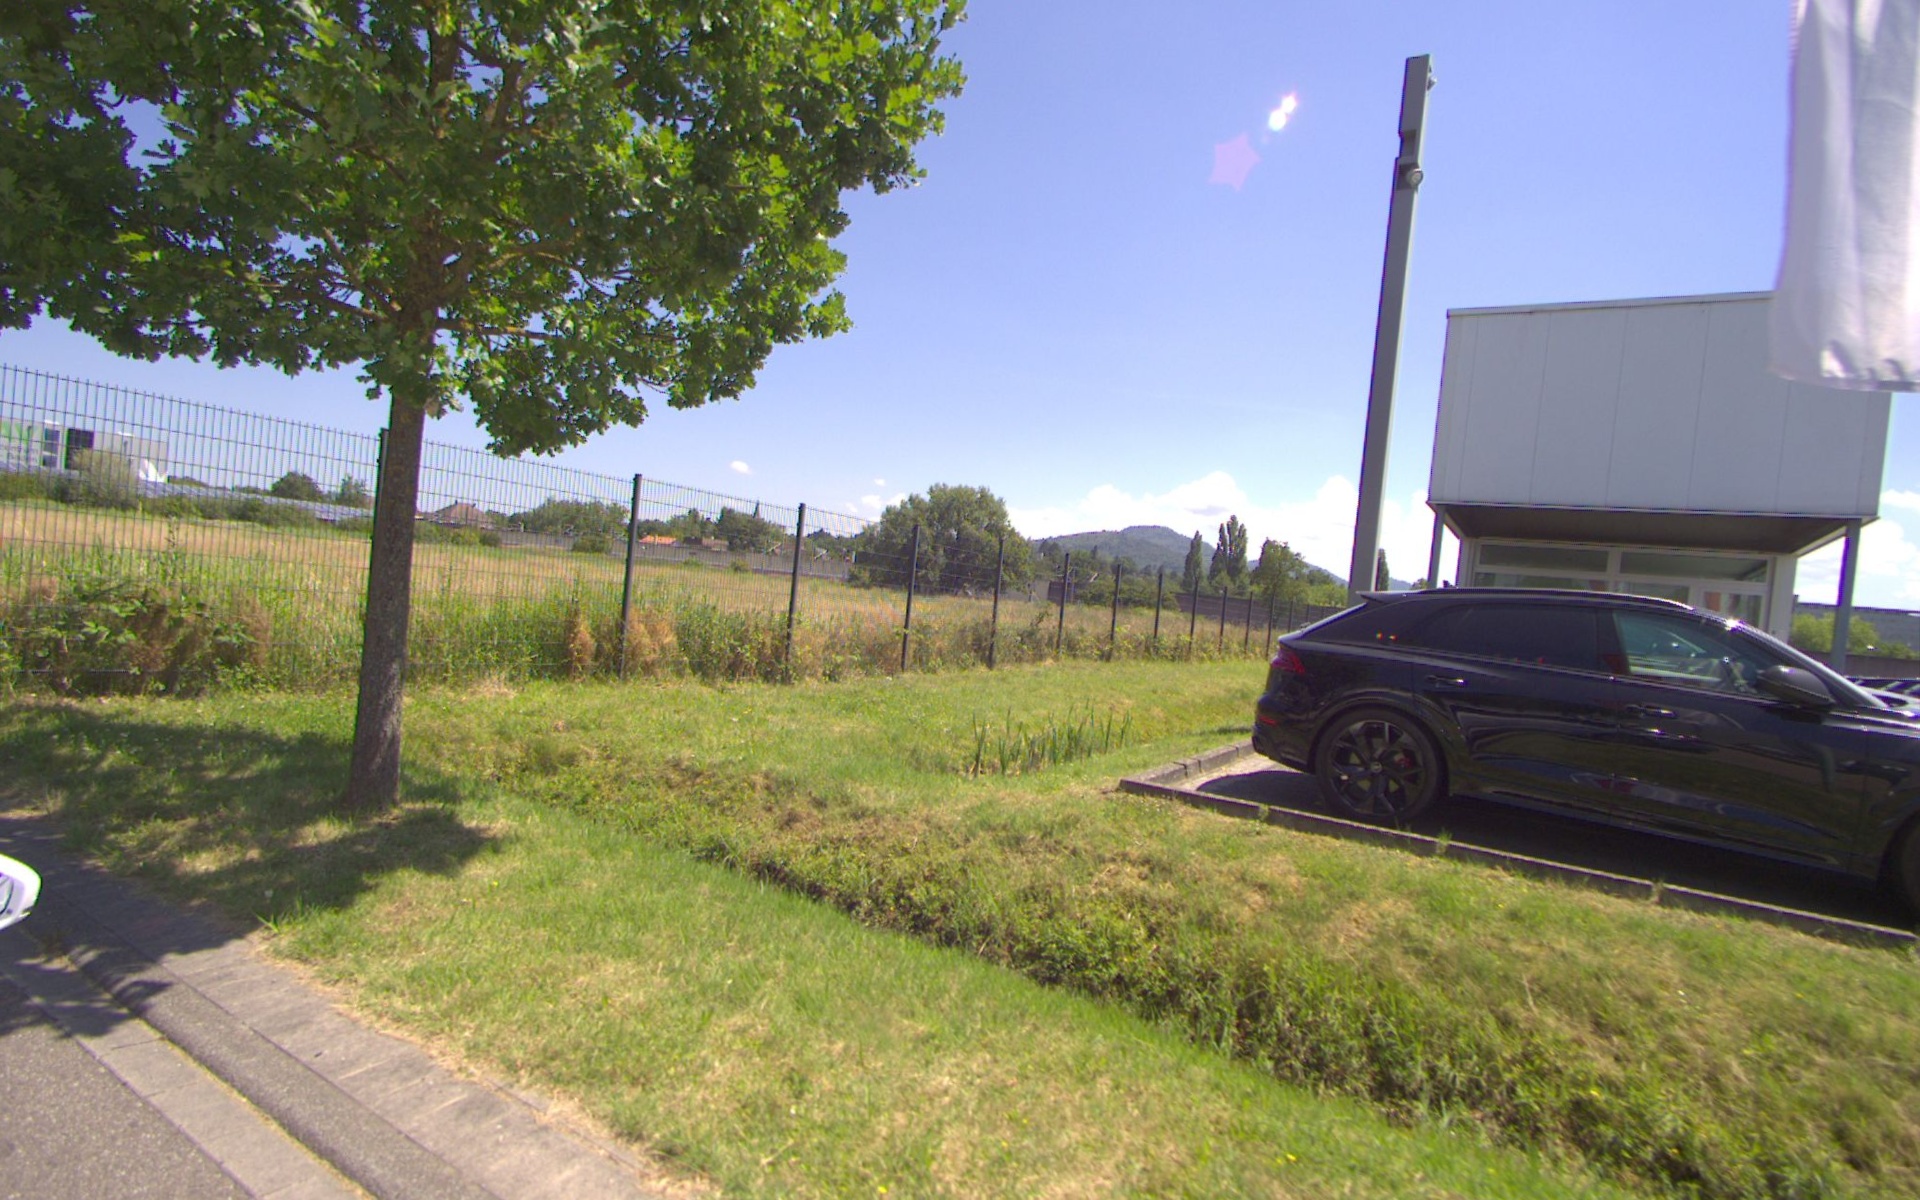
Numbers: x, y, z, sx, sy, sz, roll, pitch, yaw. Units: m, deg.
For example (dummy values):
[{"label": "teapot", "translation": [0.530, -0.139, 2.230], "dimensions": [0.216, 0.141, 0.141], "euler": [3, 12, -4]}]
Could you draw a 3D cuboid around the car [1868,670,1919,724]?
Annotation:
[{"label": "car", "translation": [33.506, 3.449, 33.291], "dimensions": [4.701, 1.611, 2.025], "euler": [6, 2, 32]}]

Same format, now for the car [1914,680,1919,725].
[{"label": "car", "translation": [30.823, 3.165, 28.740], "dimensions": [4.701, 1.611, 2.025], "euler": [6, 2, 32]}]

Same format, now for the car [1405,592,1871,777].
[{"label": "car", "translation": [8.797, 0.980, 13.553], "dimensions": [4.731, 1.702, 2.024], "euler": [6, 2, 33]}]

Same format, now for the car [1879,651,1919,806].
[{"label": "car", "translation": [11.330, 1.514, 10.156], "dimensions": [1.997, 1.715, 4.530], "euler": [6, 2, 31]}]

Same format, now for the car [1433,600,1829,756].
[{"label": "car", "translation": [10.207, 1.090, 15.728], "dimensions": [4.731, 1.676, 2.024], "euler": [6, 2, 33]}]

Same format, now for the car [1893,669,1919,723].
[{"label": "car", "translation": [32.207, 3.242, 30.942], "dimensions": [4.701, 1.611, 2.025], "euler": [6, 2, 32]}]

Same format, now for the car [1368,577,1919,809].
[{"label": "car", "translation": [7.369, 0.857, 11.313], "dimensions": [4.731, 1.748, 2.024], "euler": [6, 2, 33]}]

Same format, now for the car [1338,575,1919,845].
[{"label": "car", "translation": [6.133, 0.830, 8.976], "dimensions": [4.731, 1.632, 2.024], "euler": [6, 2, 33]}]

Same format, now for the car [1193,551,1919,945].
[{"label": "car", "translation": [4.334, 0.774, 6.472], "dimensions": [5.026, 1.715, 2.024], "euler": [6, 2, 33]}]

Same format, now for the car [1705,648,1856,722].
[{"label": "car", "translation": [19.967, 2.075, 24.702], "dimensions": [1.997, 1.431, 4.537], "euler": [6, -1, 30]}]
